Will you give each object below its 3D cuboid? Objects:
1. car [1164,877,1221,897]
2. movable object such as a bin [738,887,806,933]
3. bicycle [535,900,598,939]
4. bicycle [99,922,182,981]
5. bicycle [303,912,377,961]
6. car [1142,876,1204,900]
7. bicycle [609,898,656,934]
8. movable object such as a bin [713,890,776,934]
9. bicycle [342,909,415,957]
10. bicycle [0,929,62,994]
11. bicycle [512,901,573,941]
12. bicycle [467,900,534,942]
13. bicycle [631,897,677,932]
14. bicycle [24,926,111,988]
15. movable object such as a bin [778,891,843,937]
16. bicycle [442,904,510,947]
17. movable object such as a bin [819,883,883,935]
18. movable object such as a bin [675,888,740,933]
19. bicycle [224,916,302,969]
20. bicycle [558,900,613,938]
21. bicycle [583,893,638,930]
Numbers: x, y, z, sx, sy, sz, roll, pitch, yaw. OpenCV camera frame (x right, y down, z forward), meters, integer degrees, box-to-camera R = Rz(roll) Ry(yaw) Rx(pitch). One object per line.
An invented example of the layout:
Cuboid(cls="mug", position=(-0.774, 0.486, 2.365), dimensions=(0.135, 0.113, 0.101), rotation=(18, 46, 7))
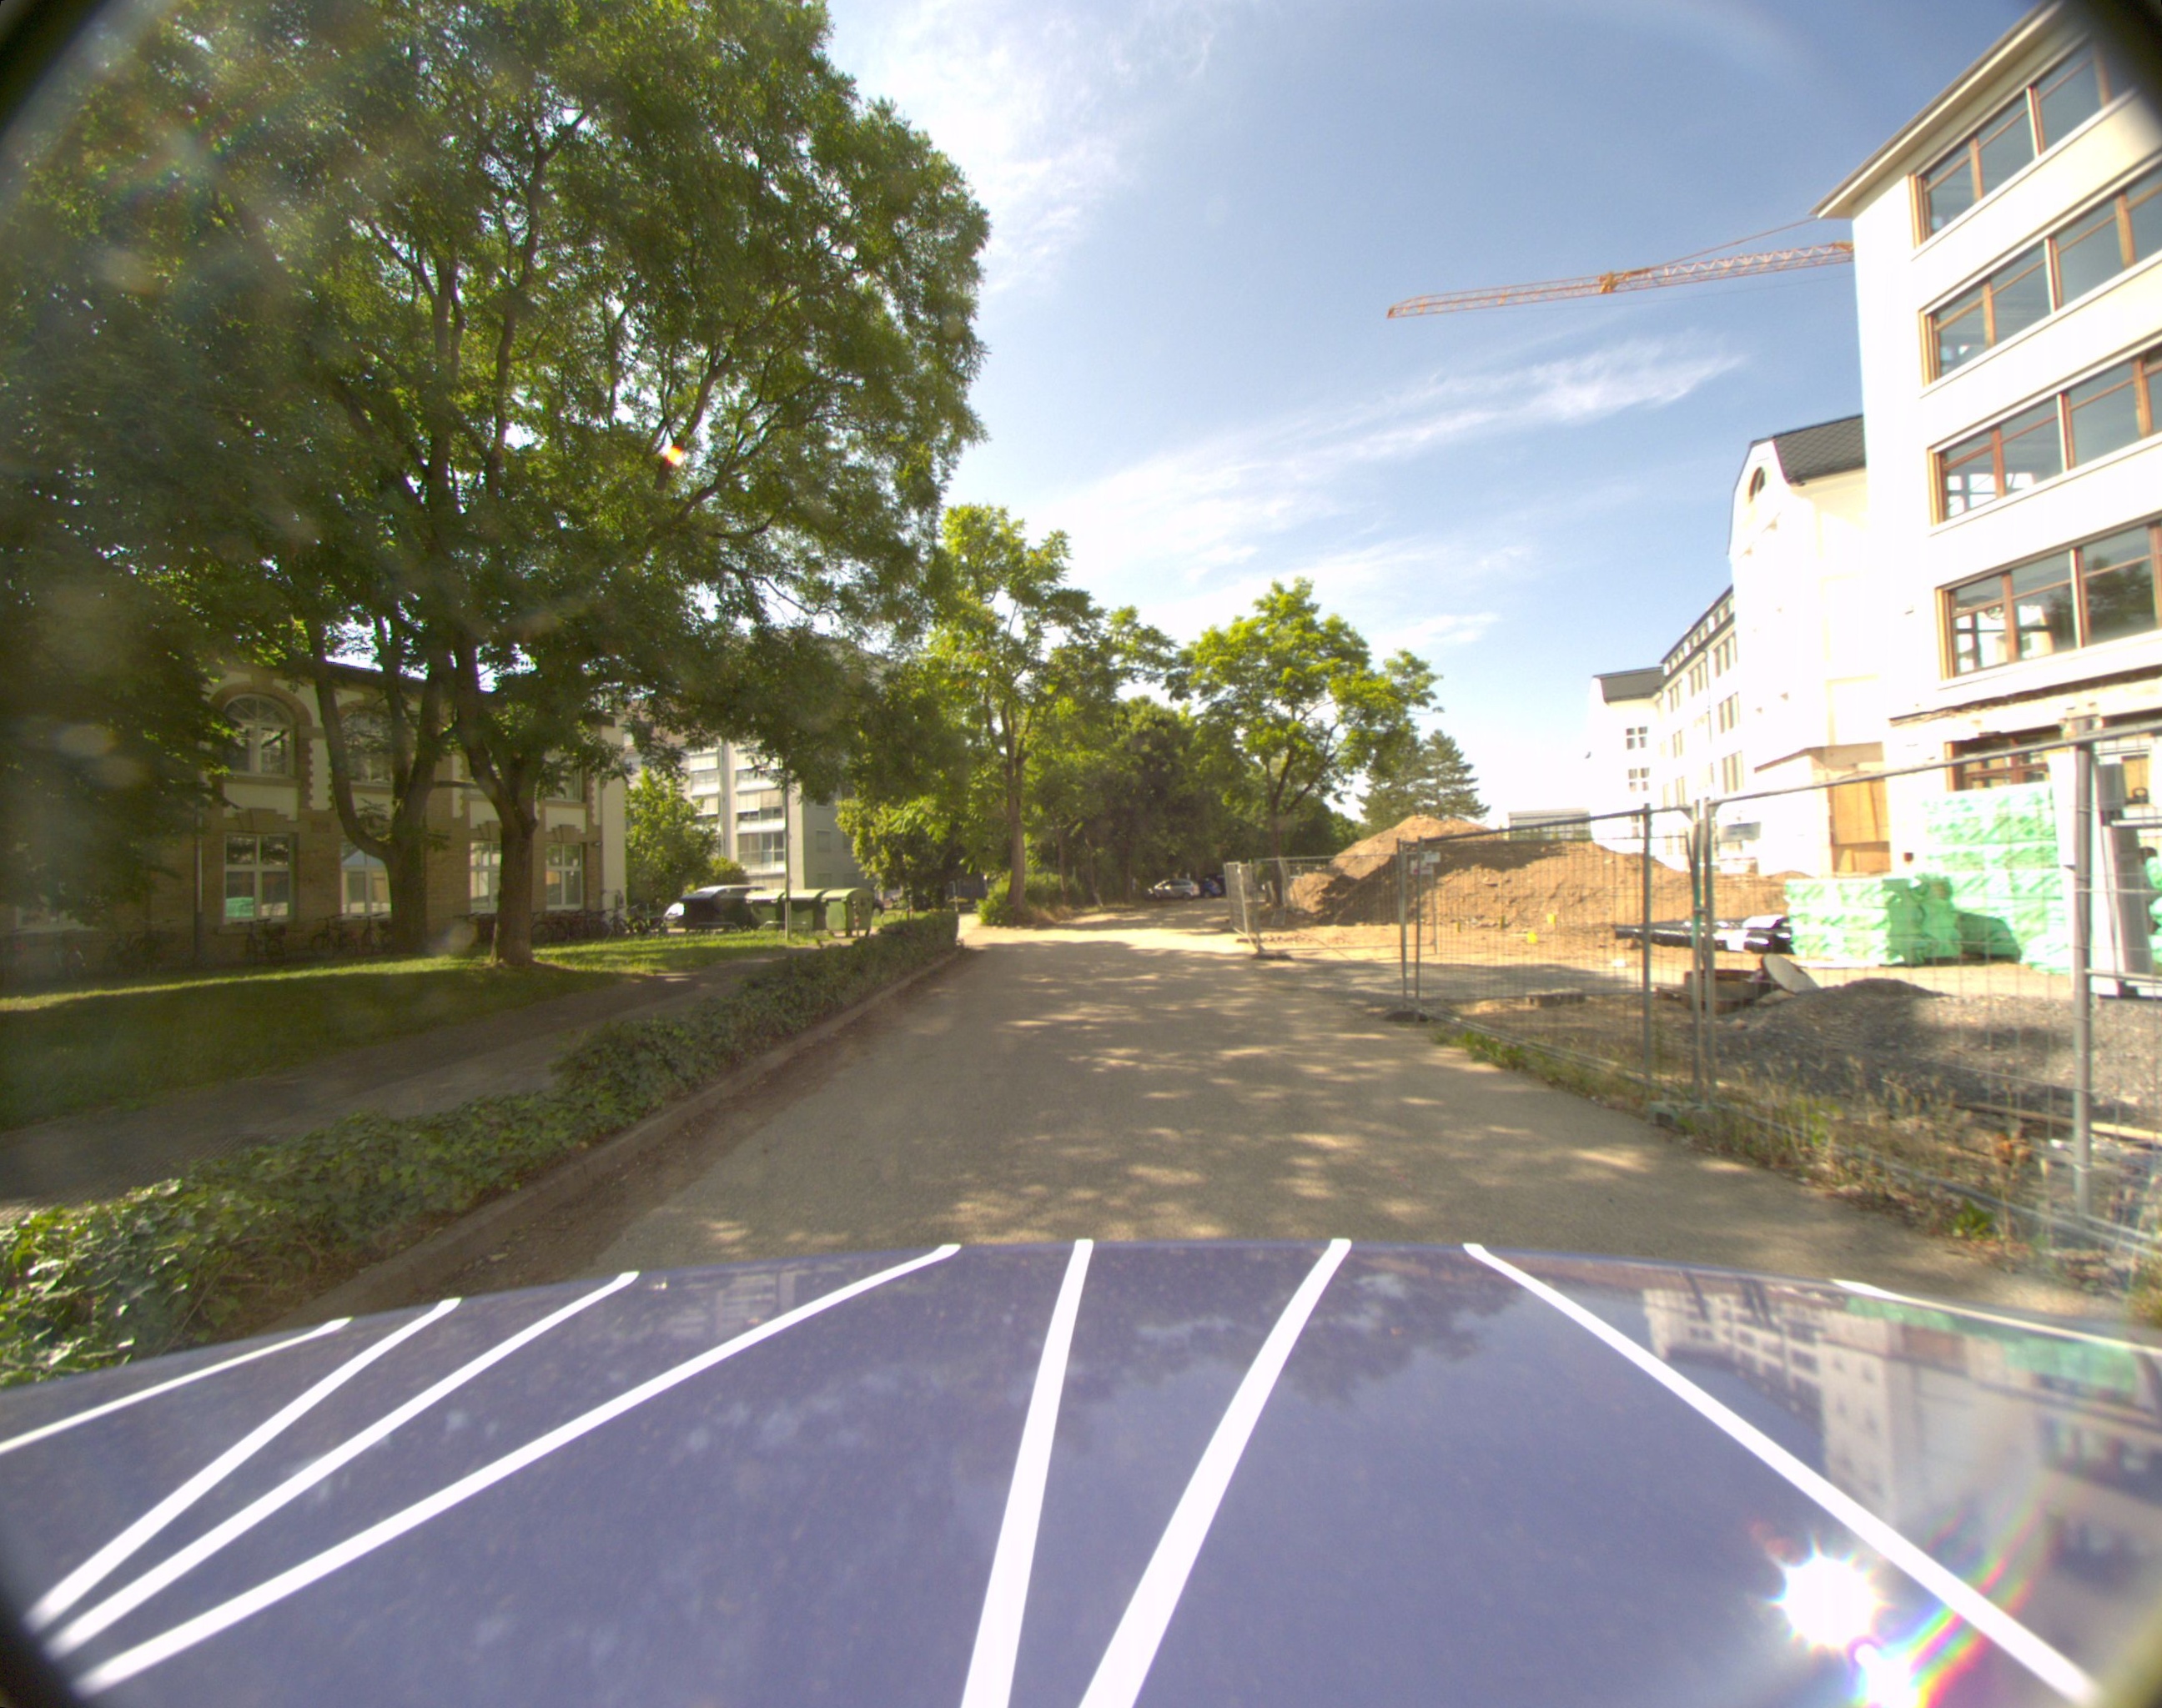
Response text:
Cuboid(cls="car", position=(8.629, 2.555, 58.781), dimensions=(3.991, 1.433, 2.003), rotation=(-2, -2, 19))
Cuboid(cls="movable object such as a bin", position=(-9.645, 1.735, 23.745), dimensions=(1.499, 1.353, 1.217), rotation=(-2, -1, 21))
Cuboid(cls="bicycle", position=(-16.158, 2.070, 23.855), dimensions=(2.097, 1.154, 0.589), rotation=(-3, -1, 24))
Cuboid(cls="bicycle", position=(-19.918, 2.043, 16.085), dimensions=(2.097, 1.154, 0.589), rotation=(-3, -1, 24))
Cuboid(cls="bicycle", position=(-18.485, 2.046, 18.945), dimensions=(2.097, 1.154, 0.589), rotation=(-3, -1, 24))
Cuboid(cls="car", position=(6.511, 2.406, 53.819), dimensions=(3.991, 1.499, 2.003), rotation=(-2, -2, 19))
Cuboid(cls="bicycle", position=(-15.182, 2.106, 25.703), dimensions=(1.800, 1.154, 0.508), rotation=(-3, -1, 29))
Cuboid(cls="movable object such as a bin", position=(-10.896, 1.866, 24.626), dimensions=(1.349, 1.341, 1.217), rotation=(-2, -1, 21))
Cuboid(cls="bicycle", position=(-18.196, 2.035, 19.666), dimensions=(2.097, 1.154, 0.589), rotation=(-3, -1, 24))
Cuboid(cls="bicycle", position=(-20.506, 2.046, 14.642), dimensions=(2.097, 1.154, 0.589), rotation=(-3, -1, 24))
Cuboid(cls="bicycle", position=(-16.405, 2.027, 23.143), dimensions=(1.917, 1.154, 0.589), rotation=(-3, -1, 24))
Cuboid(cls="bicycle", position=(-16.959, 1.951, 22.191), dimensions=(2.097, 1.154, 0.589), rotation=(-3, -1, 24))
Cuboid(cls="bicycle", position=(-14.713, 2.071, 26.142), dimensions=(1.940, 1.154, 0.558), rotation=(-3, -1, 34))
Cuboid(cls="bicycle", position=(-20.362, 2.044, 15.261), dimensions=(2.097, 1.154, 0.589), rotation=(-3, -1, 24))
Cuboid(cls="movable object such as a bin", position=(-8.246, 1.815, 23.188), dimensions=(1.352, 1.292, 1.217), rotation=(-2, -1, 21))
Cuboid(cls="bicycle", position=(-17.183, 2.028, 21.555), dimensions=(2.097, 1.154, 0.589), rotation=(-3, -1, 24))
Cuboid(cls="movable object such as a bin", position=(-6.856, 1.629, 22.658), dimensions=(1.389, 1.454, 1.218), rotation=(-3, -1, 36))
Cuboid(cls="movable object such as a bin", position=(-12.369, 1.863, 25.172), dimensions=(1.433, 1.401, 1.252), rotation=(-2, -1, 20))
Cuboid(cls="bicycle", position=(-19.084, 2.044, 17.717), dimensions=(2.097, 1.154, 0.589), rotation=(-3, -1, 24))
Cuboid(cls="bicycle", position=(-15.901, 2.089, 24.369), dimensions=(1.909, 1.154, 0.495), rotation=(-3, -1, 24))
Cuboid(cls="bicycle", position=(-15.598, 1.913, 25.179), dimensions=(1.847, 1.154, 0.614), rotation=(-3, -1, 24))
